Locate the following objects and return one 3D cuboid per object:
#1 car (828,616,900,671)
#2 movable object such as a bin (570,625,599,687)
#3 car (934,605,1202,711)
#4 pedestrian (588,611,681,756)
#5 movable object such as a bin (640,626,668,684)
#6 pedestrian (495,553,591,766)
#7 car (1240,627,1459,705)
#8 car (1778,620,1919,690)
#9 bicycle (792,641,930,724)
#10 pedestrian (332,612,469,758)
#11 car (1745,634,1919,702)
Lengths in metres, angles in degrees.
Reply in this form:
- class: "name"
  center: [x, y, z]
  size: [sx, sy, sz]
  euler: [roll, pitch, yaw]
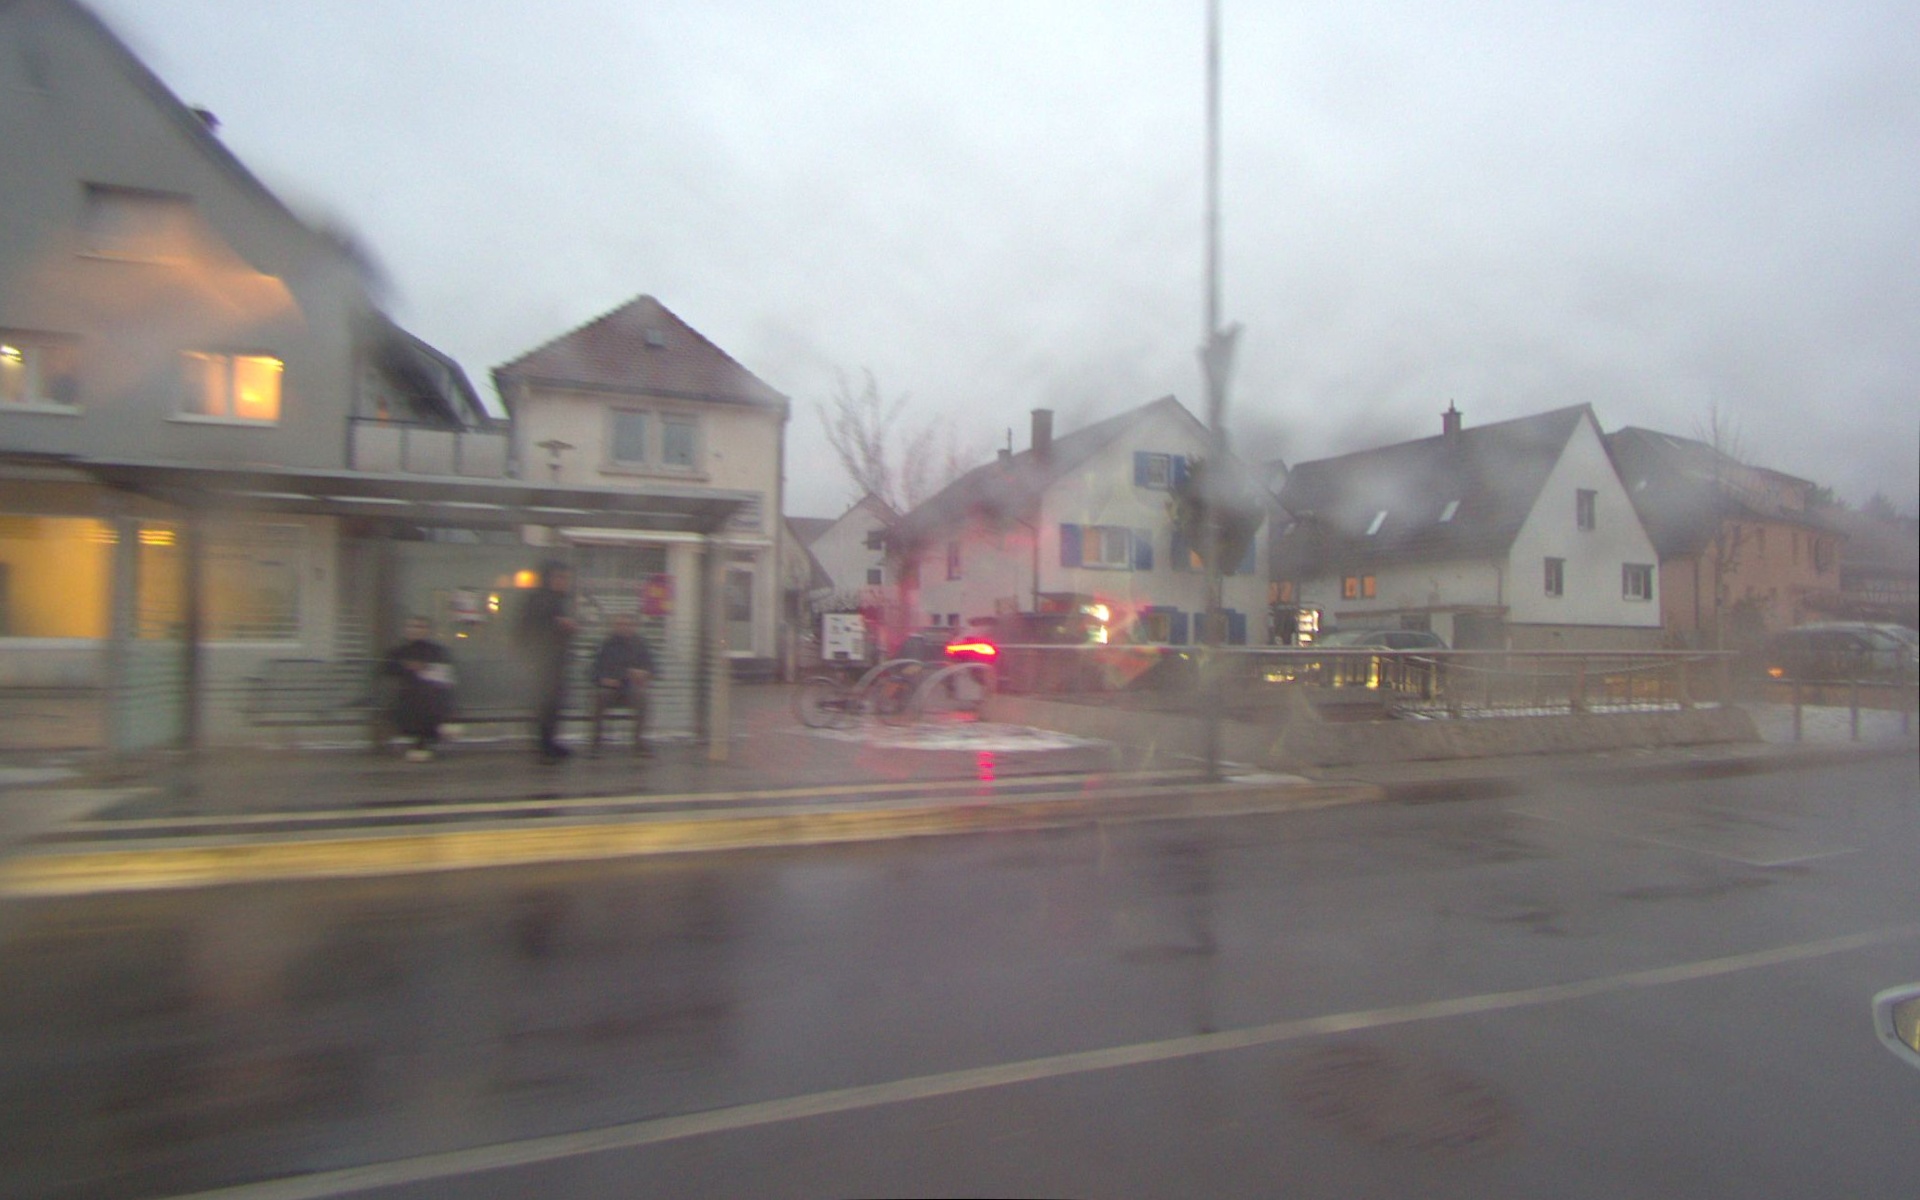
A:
- class: "car"
  center: [-3.490, 1.584, 36.008]
  size: [1.651, 1.865, 3.647]
  euler: [1, -3, -21]
- class: "movable object such as a bin"
  center: [-7.574, 1.129, 20.259]
  size: [0.447, 1.225, 0.286]
  euler: [4, -1, -24]
- class: "car"
  center: [1.950, 1.030, 17.988]
  size: [4.501, 1.723, 1.751]
  euler: [1, -4, -24]
- class: "pedestrian"
  center: [-3.087, 0.760, 9.509]
  size: [0.740, 1.288, 0.683]
  euler: [1, 0, -25]
- class: "movable object such as a bin"
  center: [-6.338, 1.142, 20.798]
  size: [0.447, 1.157, 0.286]
  euler: [4, -1, -24]
- class: "pedestrian"
  center: [-3.672, 0.498, 8.828]
  size: [0.679, 1.765, 0.744]
  euler: [1, 0, -29]
- class: "car"
  center: [8.229, 1.400, 21.185]
  size: [4.514, 1.502, 1.796]
  euler: [2, -4, -28]
- class: "car"
  center: [22.040, 1.296, 23.796]
  size: [1.690, 1.543, 3.785]
  euler: [2, -1, -22]
- class: "bicycle"
  center: [-1.268, 1.051, 12.872]
  size: [1.709, 1.023, 0.470]
  euler: [1, -1, -13]
- class: "pedestrian"
  center: [-4.875, 0.700, 8.829]
  size: [0.888, 1.174, 0.987]
  euler: [0, 0, -20]
- class: "car"
  center: [19.792, 1.465, 22.290]
  size: [1.582, 1.390, 3.429]
  euler: [2, -2, -30]
